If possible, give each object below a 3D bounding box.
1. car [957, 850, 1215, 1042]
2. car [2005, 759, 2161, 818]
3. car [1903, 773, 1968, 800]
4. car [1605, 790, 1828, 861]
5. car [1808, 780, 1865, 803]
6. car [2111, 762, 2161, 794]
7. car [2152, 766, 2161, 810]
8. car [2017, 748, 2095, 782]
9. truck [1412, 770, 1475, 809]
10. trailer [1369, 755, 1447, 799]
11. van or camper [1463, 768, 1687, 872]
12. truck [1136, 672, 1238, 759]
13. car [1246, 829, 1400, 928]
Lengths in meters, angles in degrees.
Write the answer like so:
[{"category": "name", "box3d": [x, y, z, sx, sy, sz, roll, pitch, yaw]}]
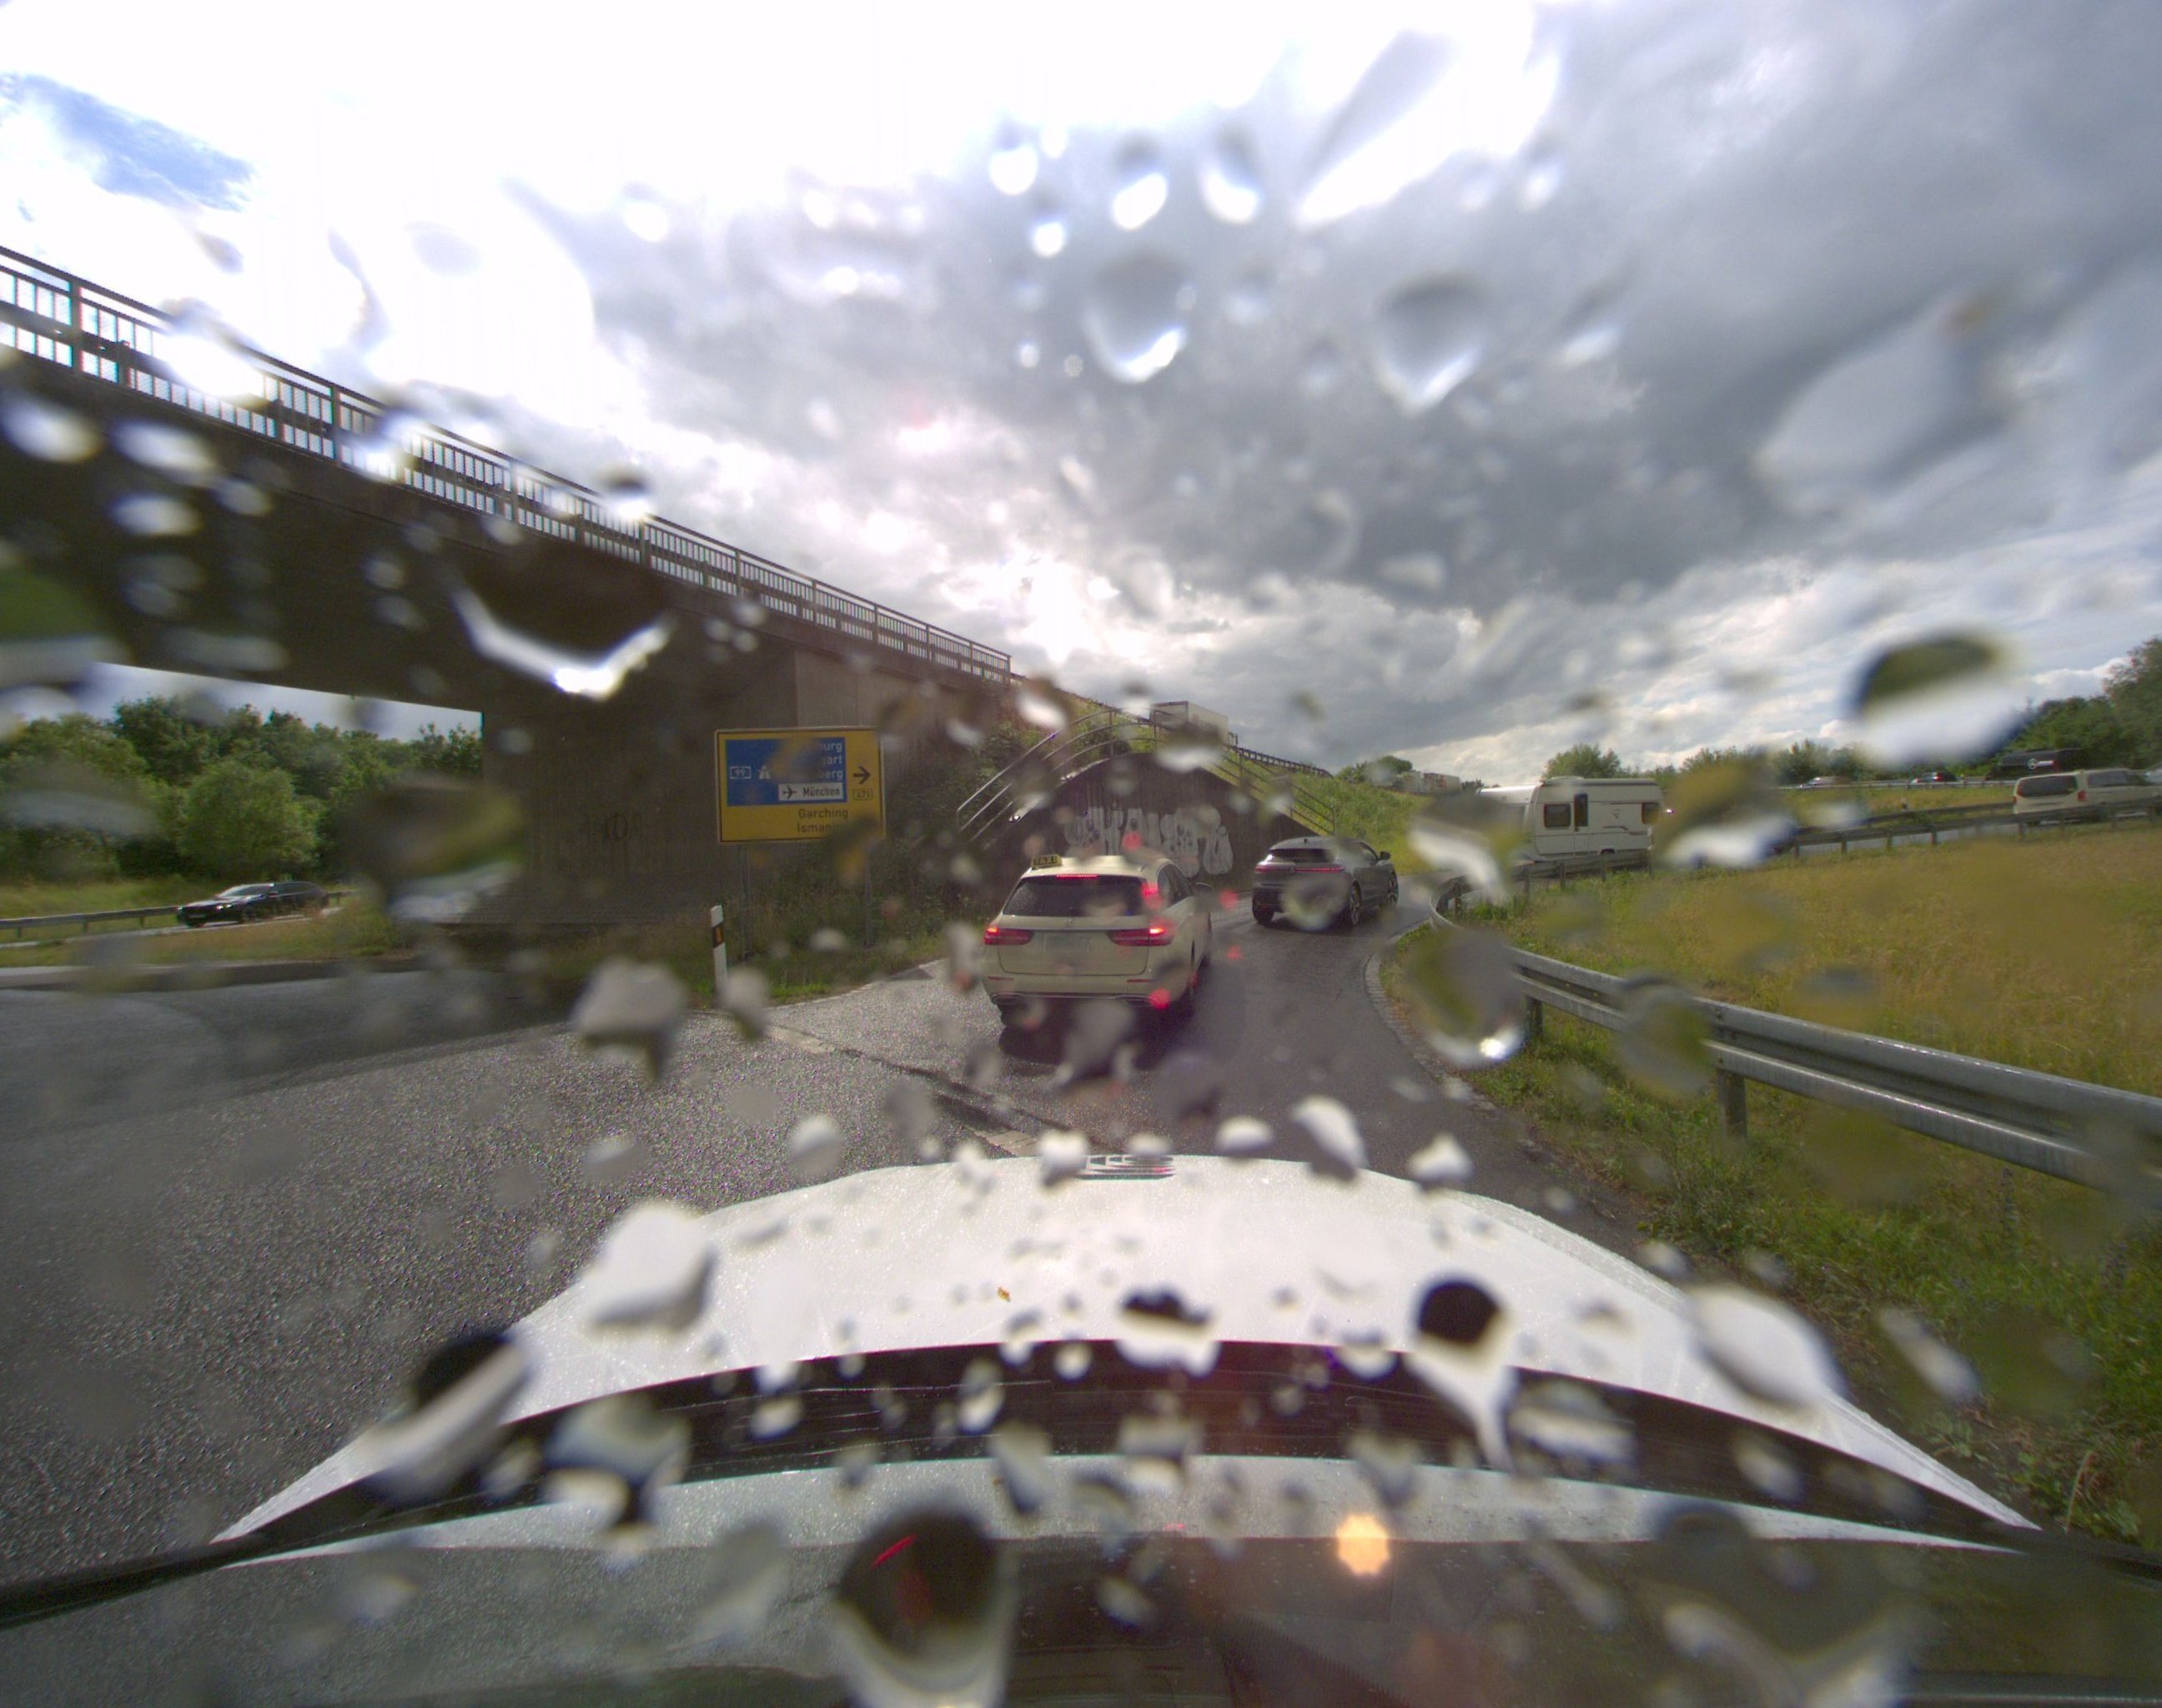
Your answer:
[{"category": "car", "box3d": [0.384, 0.749, 8.822, 1.903, 1.507, 4.610, -2, 0, 11]}, {"category": "car", "box3d": [36.702, -2.383, 29.684, 5.051, 1.861, 1.989, -3, 0, -16]}, {"category": "car", "box3d": [75.036, -5.908, 71.611, 1.980, 2.013, 4.013, -3, 0, 12]}, {"category": "car", "box3d": [19.994, -0.911, 25.718, 5.745, 1.925, 2.427, -3, 2, -12]}, {"category": "car", "box3d": [75.479, -6.264, 81.434, 1.987, 2.013, 4.001, -3, 2, 0]}, {"category": "car", "box3d": [66.705, -4.736, 50.195, 1.646, 1.784, 5.085, -3, 0, 22]}, {"category": "car", "box3d": [48.502, -2.937, 34.705, 5.057, 1.861, 1.987, -3, 0, -20]}, {"category": "car", "box3d": [71.915, -6.544, 60.150, 1.976, 2.013, 4.021, -1, 0, 21]}, {"category": "truck", "box3d": [53.967, -9.348, 120.572, 4.417, 4.503, 19.500, -1, 0, 36]}, {"category": "trailer", "box3d": [42.366, -9.701, 104.736, 4.370, 3.955, 20.348, -1, 0, 36]}, {"category": "van or camper", "box3d": [14.653, -1.044, 24.176, 6.001, 2.729, 2.423, -3, 2, -19]}, {"category": "truck", "box3d": [6.992, -8.627, 52.100, 3.150, 3.966, 9.294, -1, 0, 29]}, {"category": "car", "box3d": [4.624, 0.348, 15.161, 1.701, 1.524, 4.026, 0, 2, 32]}]
